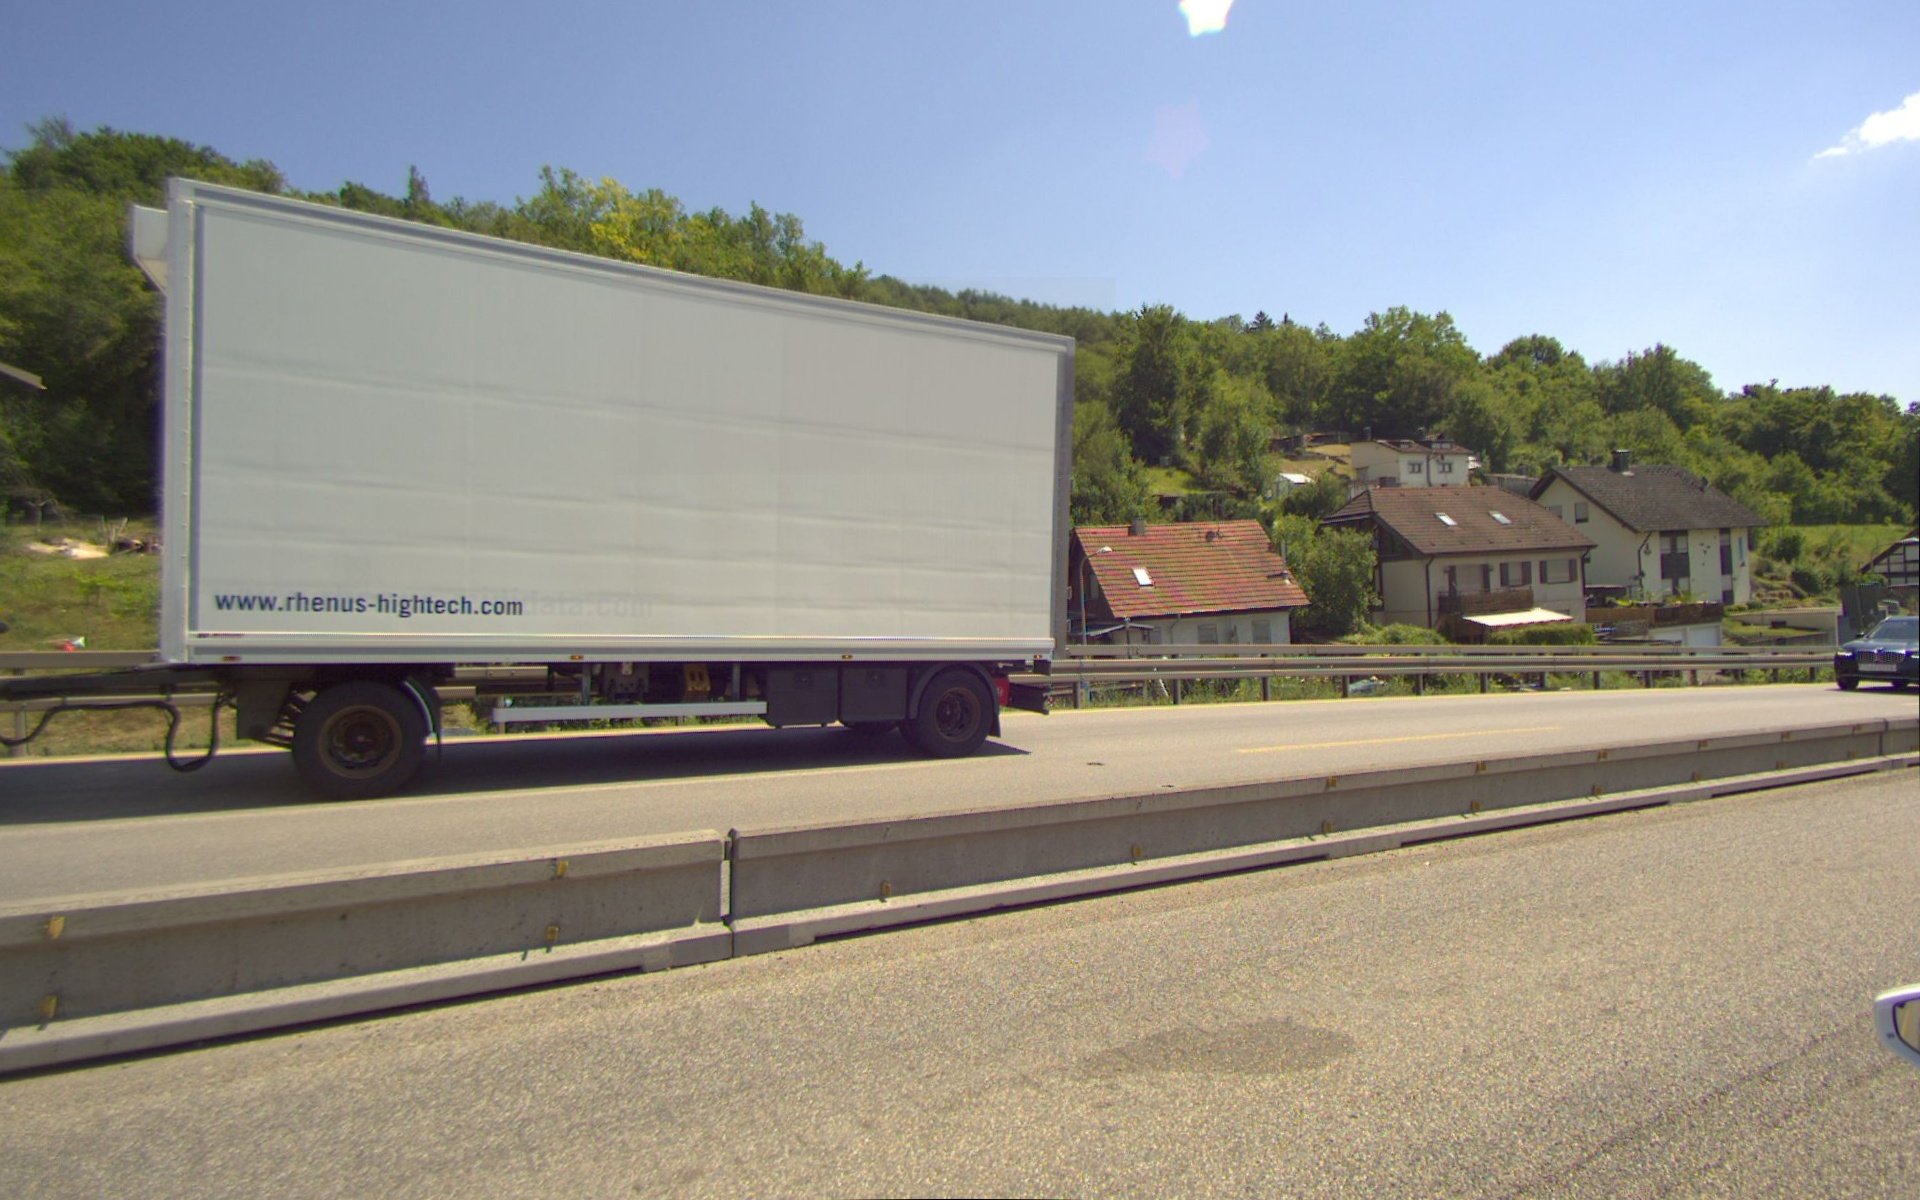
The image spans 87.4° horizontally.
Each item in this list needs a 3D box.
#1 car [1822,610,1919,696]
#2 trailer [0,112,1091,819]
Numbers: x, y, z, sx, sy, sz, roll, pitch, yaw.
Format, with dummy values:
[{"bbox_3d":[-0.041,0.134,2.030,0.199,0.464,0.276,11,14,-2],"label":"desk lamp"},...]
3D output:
[{"bbox_3d":[21.621,1.193,22.649,4.607,1.765,1.897,2,-1,-30],"label":"car"},{"bbox_3d":[-3.283,-0.734,9.181,8.911,4.221,2.989,1,0,-30],"label":"trailer"}]
